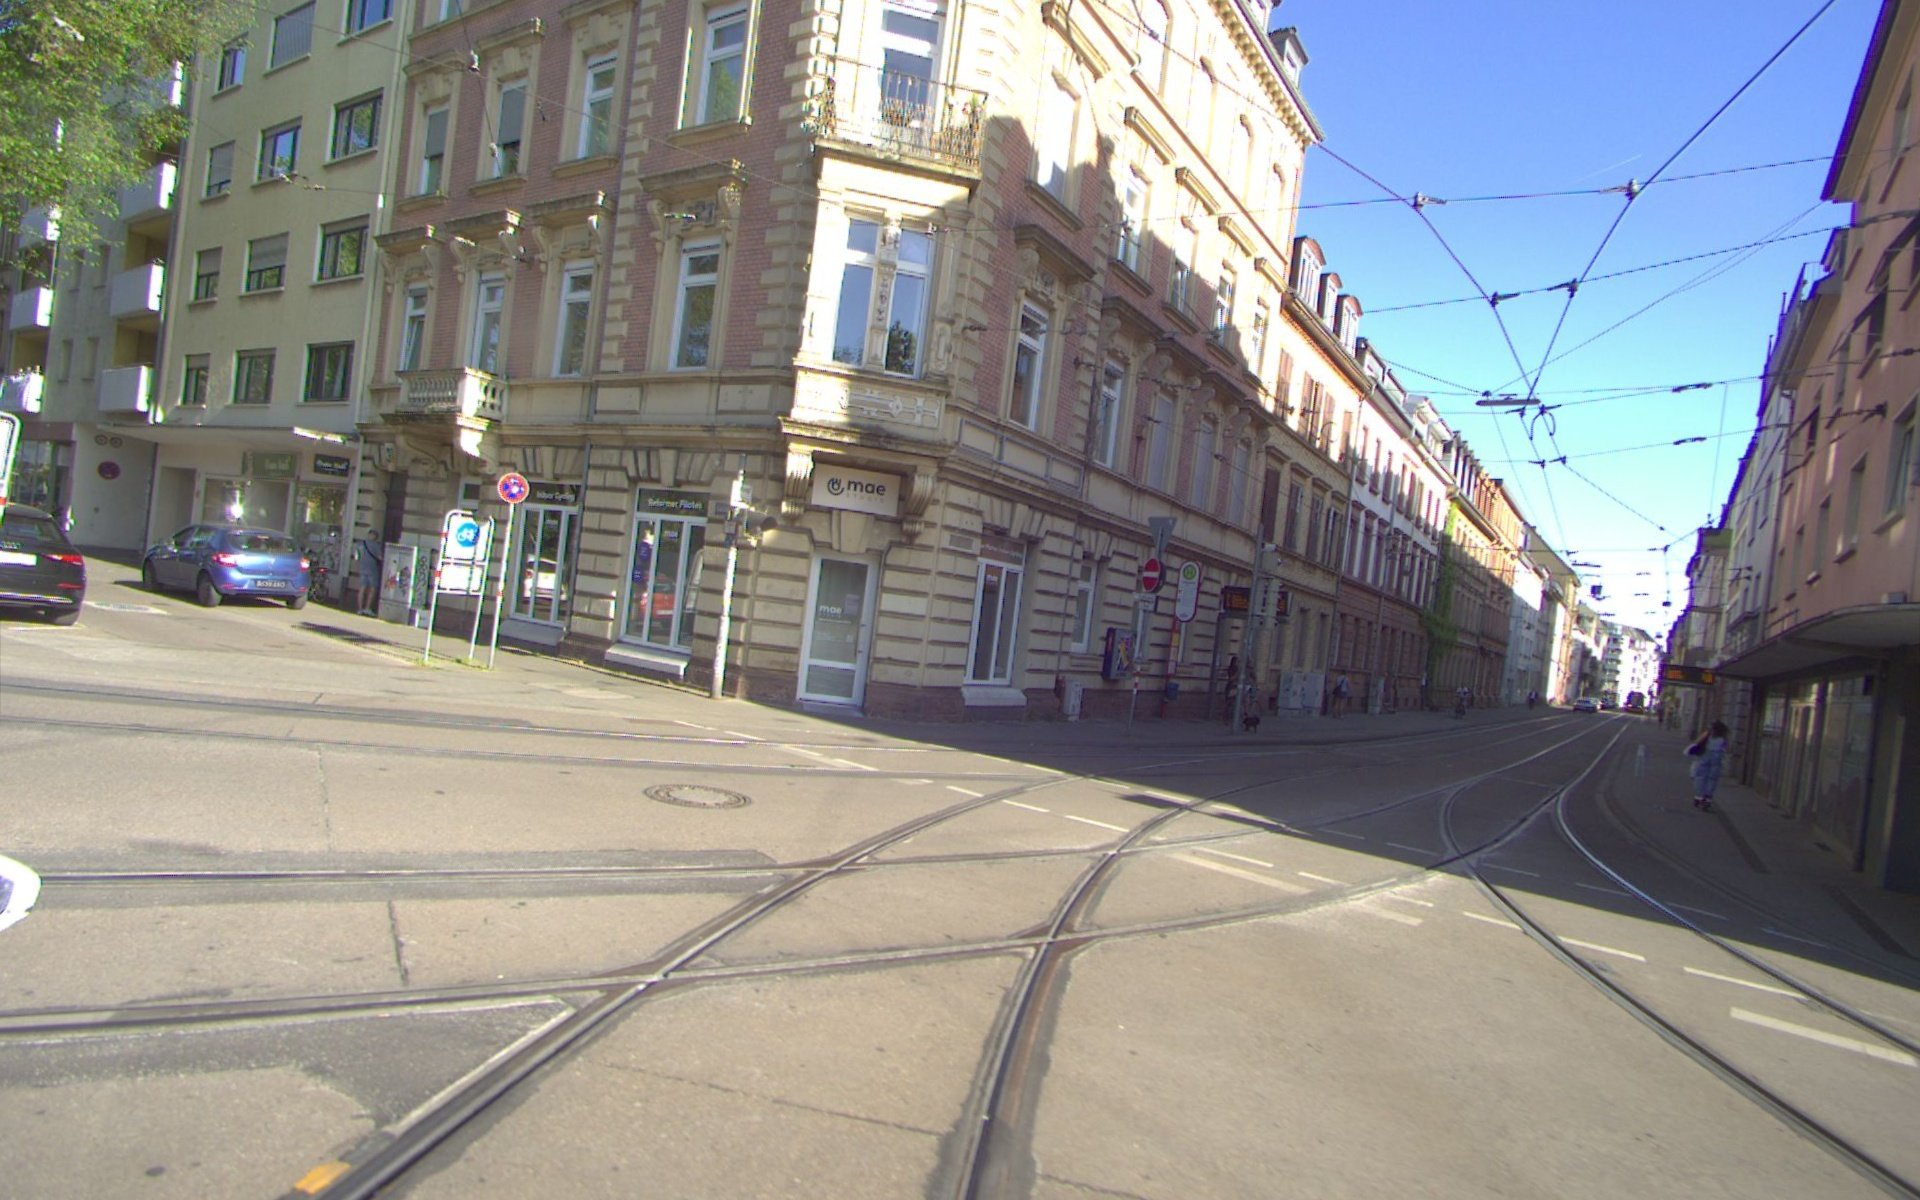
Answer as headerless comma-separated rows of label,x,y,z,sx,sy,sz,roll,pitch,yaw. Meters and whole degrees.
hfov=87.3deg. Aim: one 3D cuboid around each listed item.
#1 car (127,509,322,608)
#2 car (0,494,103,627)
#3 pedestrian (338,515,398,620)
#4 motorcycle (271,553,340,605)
car,-14.666,-0.841,20.014,3.933,1.500,1.693,8,3,31
car,-12.784,-0.706,12.751,4.101,1.437,1.700,8,-2,33
pedestrian,-12.227,-0.672,20.780,0.839,2.036,0.512,8,-1,37
motorcycle,-14.084,-0.461,21.629,1.842,0.907,0.485,8,3,33
